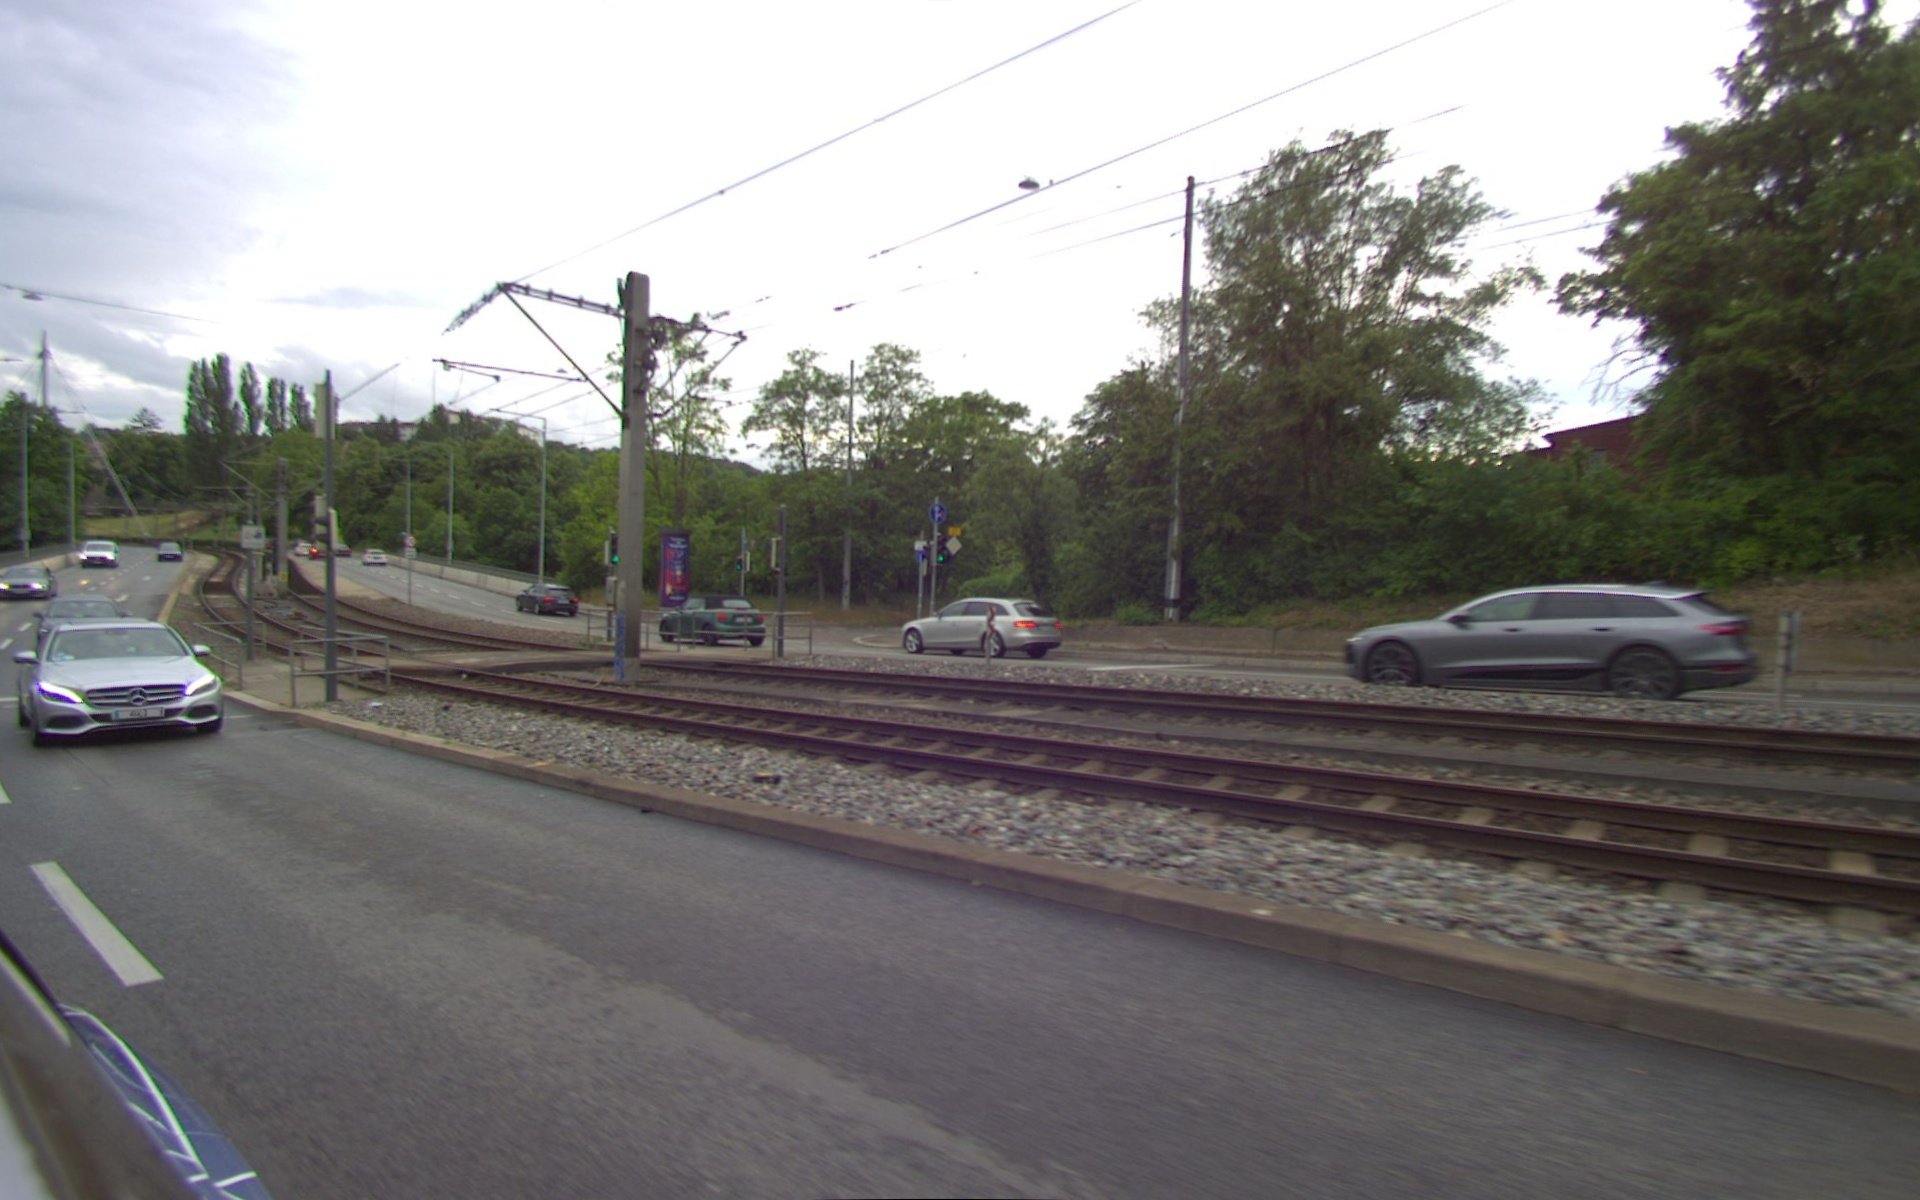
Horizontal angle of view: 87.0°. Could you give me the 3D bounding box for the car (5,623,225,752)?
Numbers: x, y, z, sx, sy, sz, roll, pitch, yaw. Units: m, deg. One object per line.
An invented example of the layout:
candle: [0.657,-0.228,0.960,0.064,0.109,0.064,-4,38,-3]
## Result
car: [-11.012,0.996,13.087,1.845,1.366,4.062,0,-1,-45]

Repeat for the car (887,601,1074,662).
car: [0.419,0.739,25.101,4.707,1.390,1.799,-1,-1,44]

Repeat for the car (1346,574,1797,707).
car: [7.896,0.504,13.419,4.854,1.449,1.841,-1,-2,42]

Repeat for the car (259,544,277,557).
car: [-90.204,-6.493,131.936,1.581,1.504,3.023,1,4,-42]

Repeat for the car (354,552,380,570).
car: [-55.966,-3.708,95.523,1.796,1.526,4.542,0,4,-34]

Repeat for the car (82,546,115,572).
car: [-62.294,-2.965,73.202,1.742,1.830,4.006,-2,2,-41]

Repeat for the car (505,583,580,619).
car: [-19.588,0.006,47.349,4.278,1.469,1.696,4,3,44]

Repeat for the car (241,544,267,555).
car: [-102.475,-7.339,146.900,4.733,1.447,1.800,4,3,37]

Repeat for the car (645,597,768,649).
car: [-7.292,0.627,28.943,3.896,1.395,1.614,0,-1,45]

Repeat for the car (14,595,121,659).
car: [-22.838,0.628,25.856,4.001,1.362,1.712,3,3,44]

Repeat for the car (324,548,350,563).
car: [-72.704,-5.196,118.091,1.944,1.609,5.195,1,2,-39]

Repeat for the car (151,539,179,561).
car: [-69.290,-4.326,88.153,1.742,1.830,4.006,-2,2,-41]

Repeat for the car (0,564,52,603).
car: [-40.571,-0.742,43.724,1.741,1.512,4.008,0,3,-39]

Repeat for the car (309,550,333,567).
car: [-66.246,-4.297,104.821,1.823,1.609,4.744,1,2,-35]

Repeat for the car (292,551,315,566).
car: [-74.690,-4.781,115.075,1.708,1.447,4.501,1,3,-39]
